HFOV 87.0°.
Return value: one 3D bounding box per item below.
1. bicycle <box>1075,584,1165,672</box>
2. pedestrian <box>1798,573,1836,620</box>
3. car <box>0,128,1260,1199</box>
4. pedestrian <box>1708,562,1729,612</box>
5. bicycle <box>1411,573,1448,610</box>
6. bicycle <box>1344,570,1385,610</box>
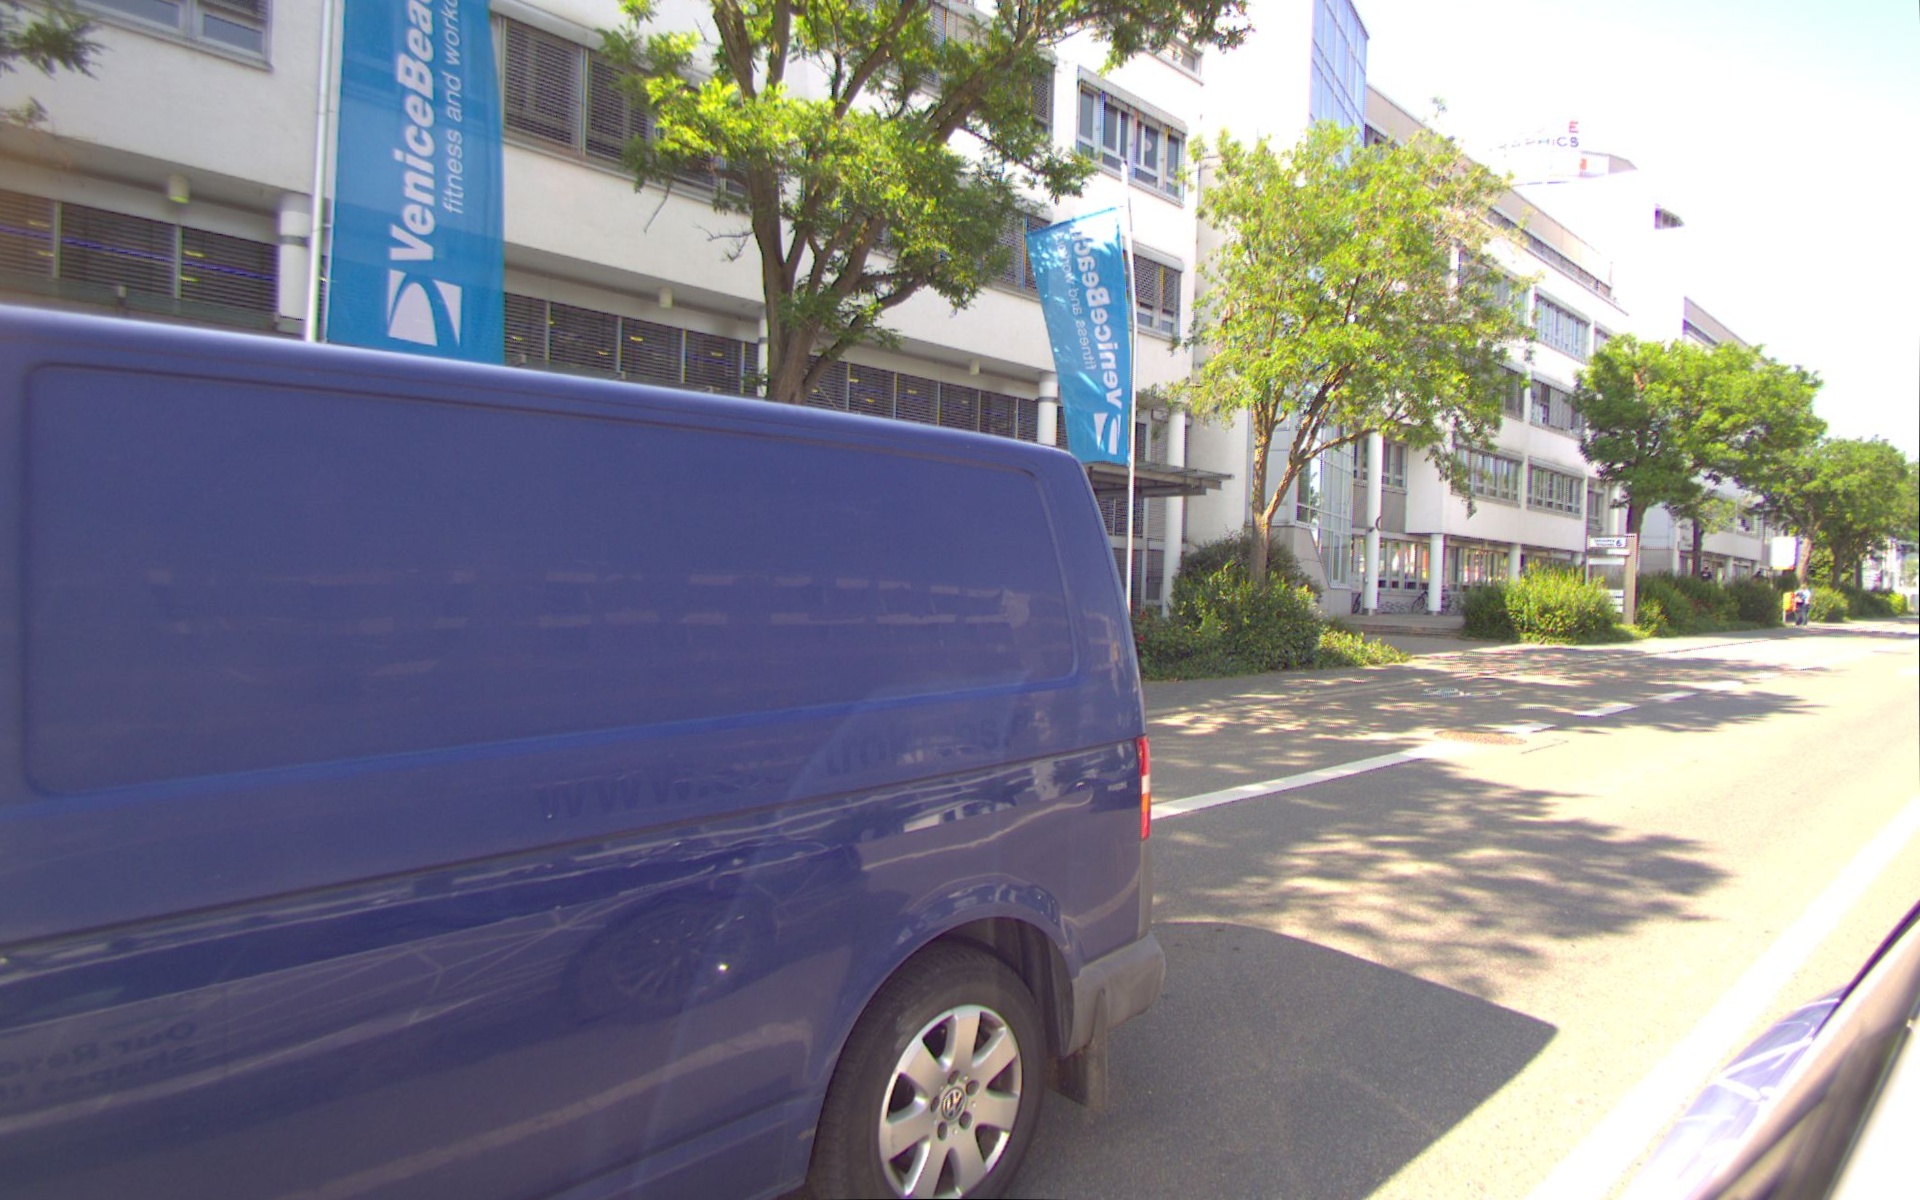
[{"bbox_3d":[2.612,0.423,16.387,0.504,1.346,1.856,2,1,41],"label":"bicycle"},{"bbox_3d":[36.537,-0.154,43.140,1.266,1.909,0.942,0,4,-40],"label":"pedestrian"},{"bbox_3d":[-1.628,0.407,2.070,4.805,1.972,1.998,-1,2,-40],"label":"car"},{"bbox_3d":[39.275,-0.682,52.387,0.704,2.581,0.716,0,1,-42],"label":"pedestrian"},{"bbox_3d":[17.626,-0.316,37.947,1.851,1.371,0.506,0,1,-40],"label":"bicycle"},{"bbox_3d":[14.150,-0.363,35.372,1.851,1.371,0.506,0,1,-40],"label":"bicycle"}]
